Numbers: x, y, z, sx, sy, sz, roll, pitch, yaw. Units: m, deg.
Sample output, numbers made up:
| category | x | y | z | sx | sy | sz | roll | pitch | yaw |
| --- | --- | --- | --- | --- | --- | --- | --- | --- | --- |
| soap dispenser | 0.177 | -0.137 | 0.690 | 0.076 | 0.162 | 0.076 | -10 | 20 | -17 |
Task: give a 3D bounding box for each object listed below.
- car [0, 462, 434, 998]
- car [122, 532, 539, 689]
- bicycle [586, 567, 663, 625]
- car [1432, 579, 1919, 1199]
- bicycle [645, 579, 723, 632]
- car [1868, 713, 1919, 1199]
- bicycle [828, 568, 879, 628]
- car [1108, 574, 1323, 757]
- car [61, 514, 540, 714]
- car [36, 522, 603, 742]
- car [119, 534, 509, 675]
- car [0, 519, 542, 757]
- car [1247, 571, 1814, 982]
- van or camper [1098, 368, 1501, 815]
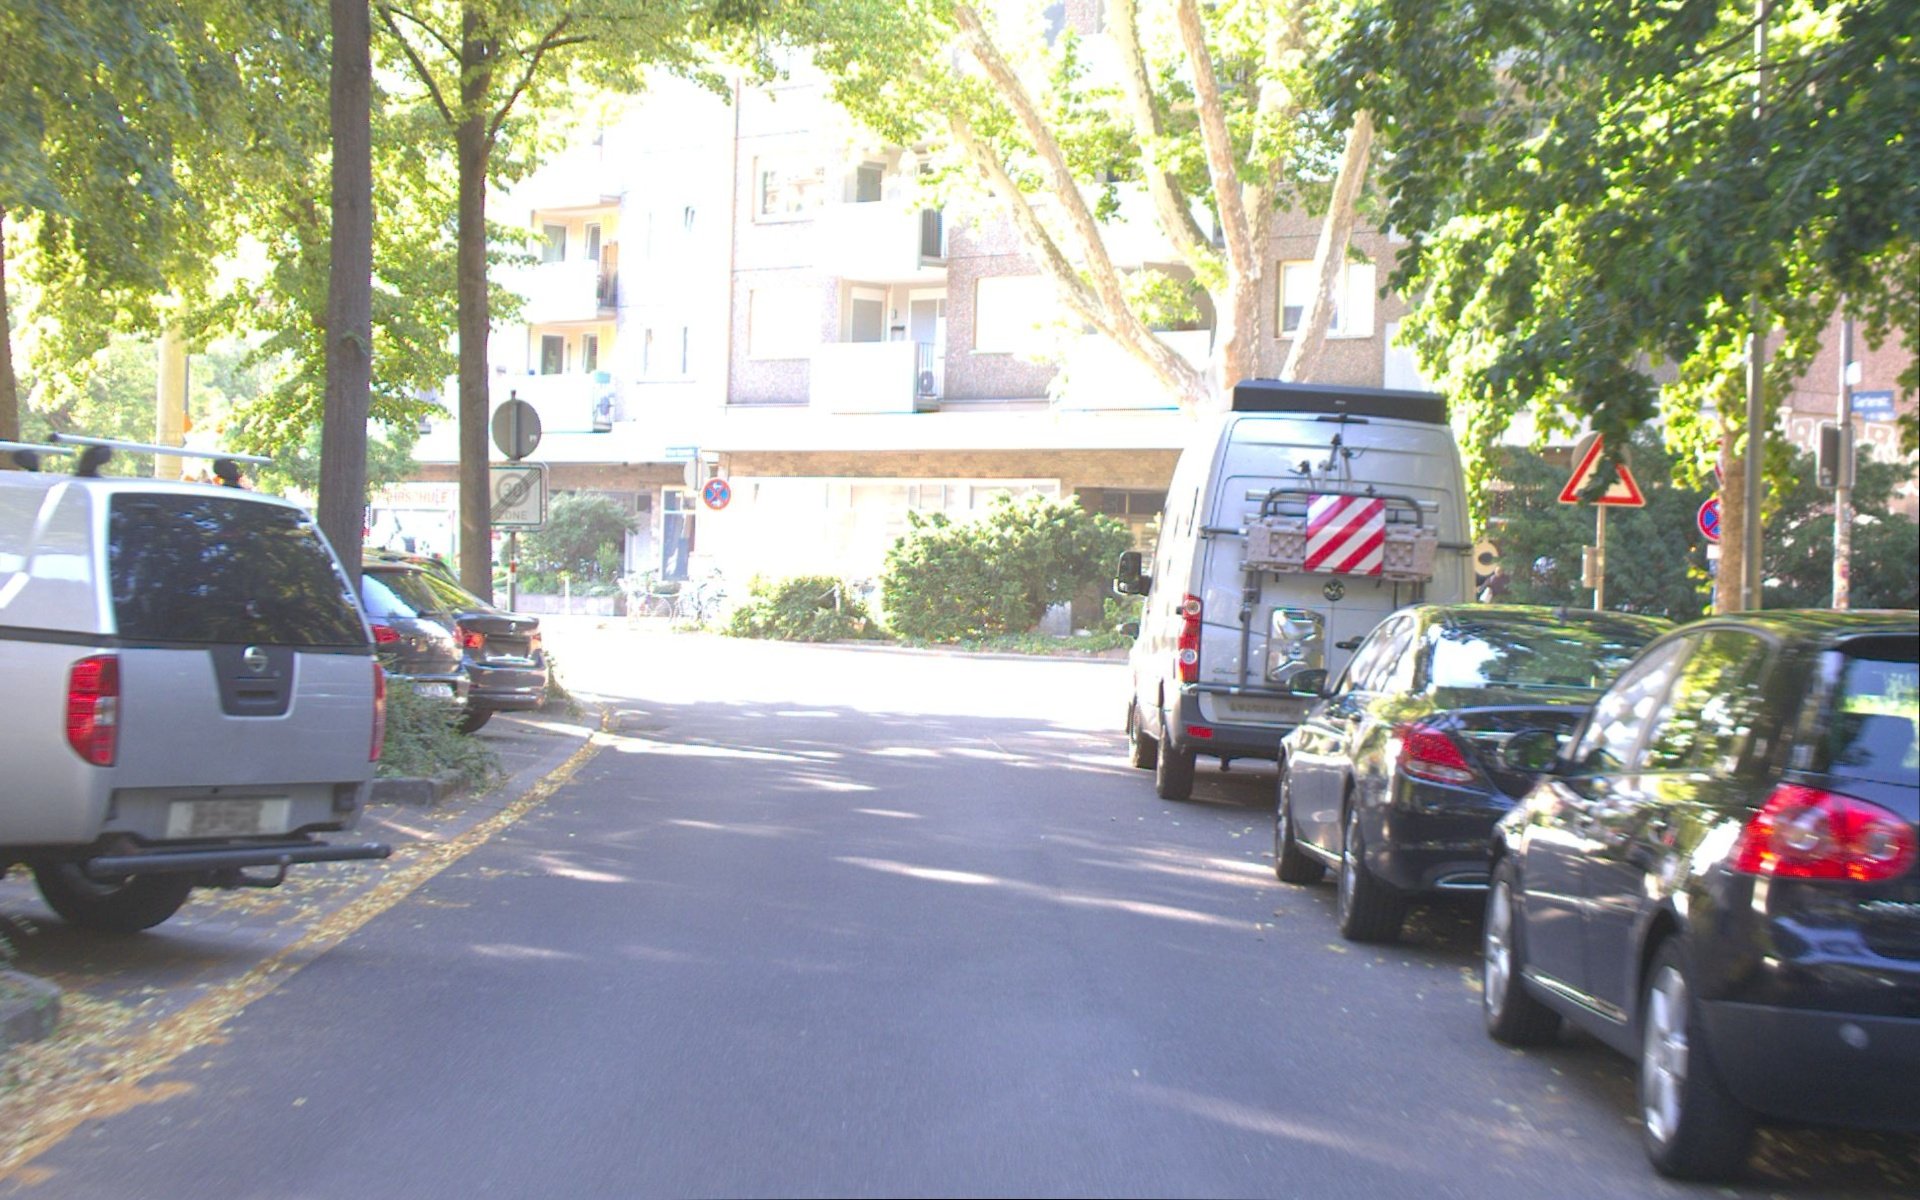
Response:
| category | x | y | z | sx | sy | sz | roll | pitch | yaw |
| --- | --- | --- | --- | --- | --- | --- | --- | --- | --- |
| car | -4.764 | 0.287 | 13.471 | 4.993 | 1.775 | 1.984 | 5 | 1 | 26 |
| car | -6.775 | 0.108 | 37.137 | 3.975 | 1.360 | 1.773 | 4 | 1 | 14 |
| bicycle | -6.151 | -0.078 | 62.977 | 0.638 | 1.019 | 2.088 | 1 | 1 | -28 |
| car | 2.585 | 0.744 | 10.073 | 1.680 | 1.520 | 4.288 | 2 | 1 | -1 |
| bicycle | -4.942 | 0.087 | 61.391 | 0.542 | 0.901 | 1.735 | 1 | 1 | -36 |
| car | 2.644 | 0.906 | 4.247 | 1.680 | 1.279 | 4.288 | 2 | 1 | -3 |
| bicycle | -1.889 | -0.040 | 60.840 | 0.348 | 1.034 | 1.052 | 0 | 1 | -37 |
| car | 2.278 | 0.550 | 31.477 | 1.680 | 1.441 | 3.872 | 4 | 1 | 1 |
| car | -6.034 | 0.121 | 31.480 | 3.877 | 1.488 | 1.829 | 5 | 1 | 25 |
| car | -5.264 | 0.244 | 28.275 | 4.192 | 1.434 | 1.829 | 5 | 1 | 23 |
| car | -7.483 | 0.048 | 39.947 | 4.029 | 1.401 | 1.773 | 3 | 0 | 13 |
| car | -5.314 | 0.259 | 25.719 | 3.864 | 1.434 | 1.829 | 5 | 1 | 23 |
| car | 2.402 | 0.667 | 15.587 | 1.680 | 1.520 | 4.490 | 2 | 1 | -1 |
| van or camper | 2.254 | -0.096 | 24.538 | 2.084 | 2.753 | 5.846 | 2 | 1 | -1 |
